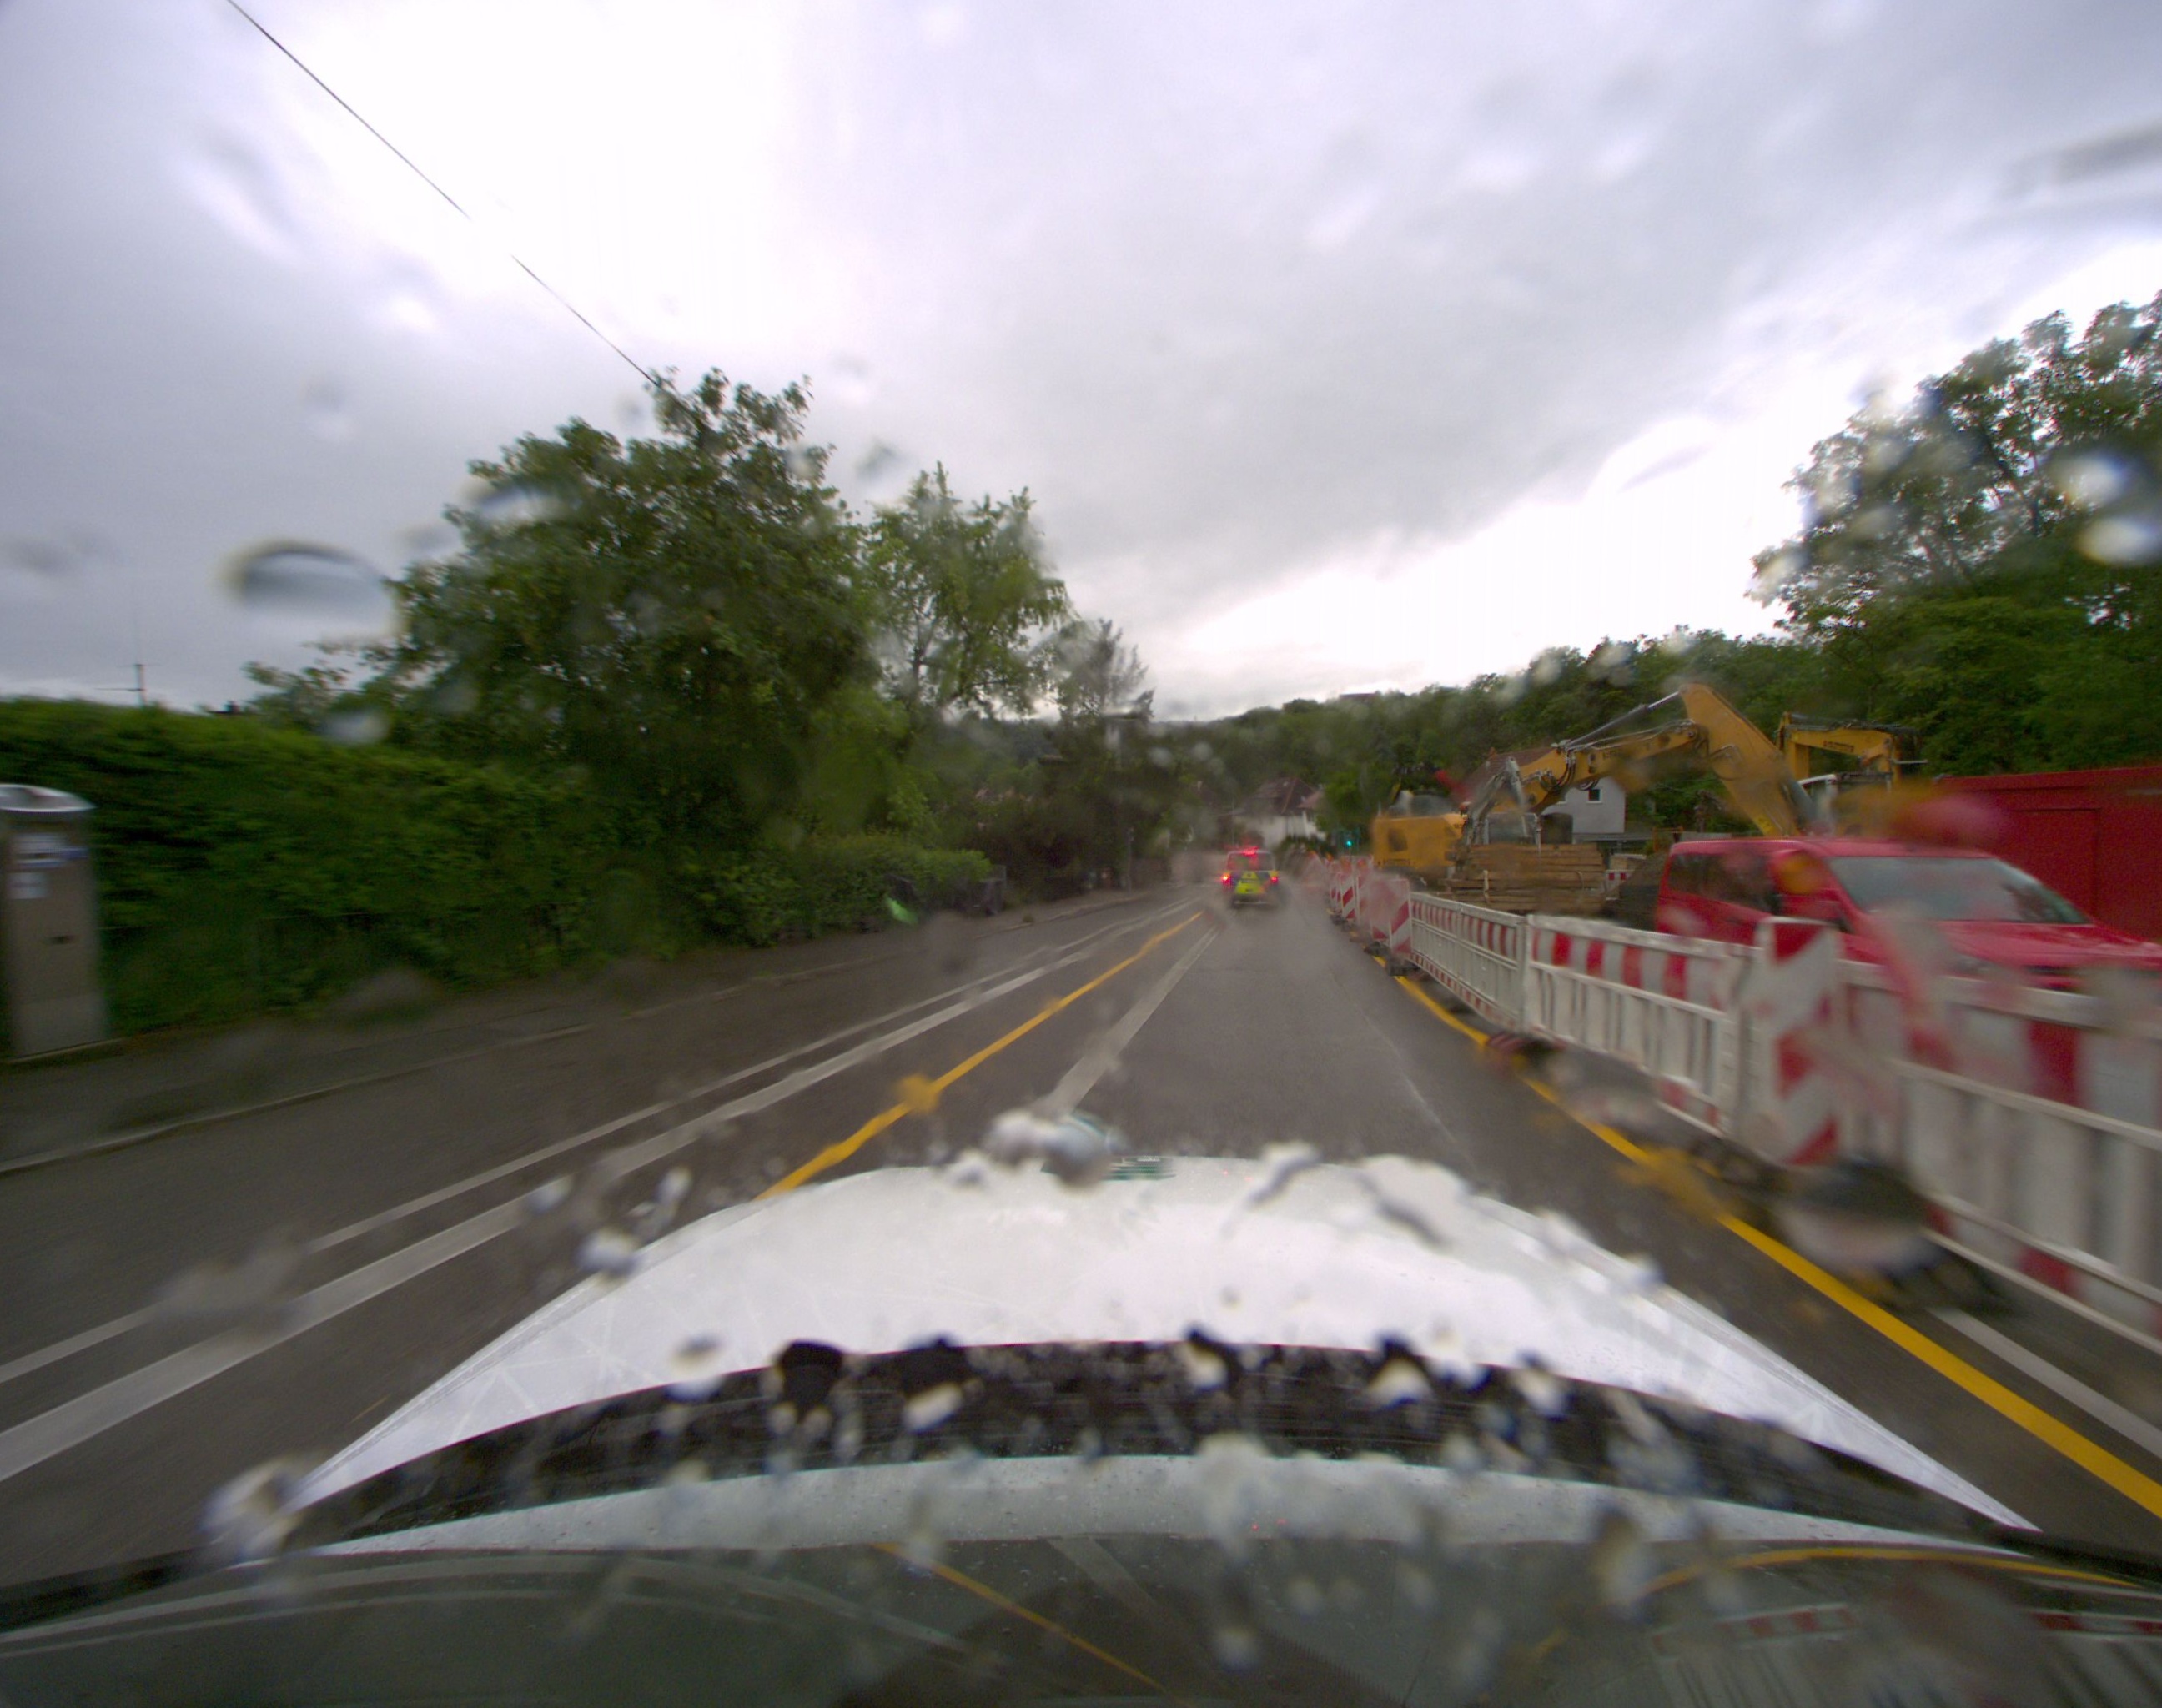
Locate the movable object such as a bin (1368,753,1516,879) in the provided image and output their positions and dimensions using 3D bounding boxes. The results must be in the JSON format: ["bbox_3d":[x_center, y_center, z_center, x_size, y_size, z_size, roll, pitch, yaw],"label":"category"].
[{"bbox_3d":[20.055,-2.020,45.661,6.908,6.689,3.053,-1,-1,9],"label":"movable object such as a bin"}]

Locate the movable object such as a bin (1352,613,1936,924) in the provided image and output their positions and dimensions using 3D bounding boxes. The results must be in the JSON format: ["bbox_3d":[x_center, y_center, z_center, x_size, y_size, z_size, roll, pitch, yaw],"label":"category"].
[{"bbox_3d":[11.077,-1.091,18.334,3.070,4.919,10.735,1,-3,-23],"label":"movable object such as a bin"}]

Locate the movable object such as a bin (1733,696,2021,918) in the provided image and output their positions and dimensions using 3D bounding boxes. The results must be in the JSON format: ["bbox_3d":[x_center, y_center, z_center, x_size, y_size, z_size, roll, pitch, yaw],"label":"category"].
[{"bbox_3d":[15.877,-0.817,16.693,1.981,3.888,4.631,-1,0,11],"label":"movable object such as a bin"}]

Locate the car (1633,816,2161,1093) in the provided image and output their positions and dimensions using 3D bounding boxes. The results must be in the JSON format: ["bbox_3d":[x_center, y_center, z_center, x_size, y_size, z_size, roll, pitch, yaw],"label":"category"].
[{"bbox_3d":[7.421,0.645,7.709,1.979,1.779,5.016,-1,0,13],"label":"car"}]

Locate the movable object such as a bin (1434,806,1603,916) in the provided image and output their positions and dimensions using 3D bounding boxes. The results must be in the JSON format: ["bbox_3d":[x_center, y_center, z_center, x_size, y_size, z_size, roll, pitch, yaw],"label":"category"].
[{"bbox_3d":[13.564,0.142,25.532,3.970,3.202,2.411,0,5,3],"label":"movable object such as a bin"}]

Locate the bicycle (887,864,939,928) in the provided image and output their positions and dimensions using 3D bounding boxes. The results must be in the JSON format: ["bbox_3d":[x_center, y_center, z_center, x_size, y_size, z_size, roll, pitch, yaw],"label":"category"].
[{"bbox_3d":[-3.685,0.899,18.004,0.417,1.349,1.749,-1,-2,13],"label":"bicycle"}]

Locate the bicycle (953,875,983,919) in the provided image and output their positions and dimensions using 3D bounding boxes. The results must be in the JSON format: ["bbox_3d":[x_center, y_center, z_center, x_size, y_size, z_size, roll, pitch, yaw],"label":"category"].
[{"bbox_3d":[-2.940,1.099,21.224,0.335,1.107,1.260,-1,-2,13],"label":"bicycle"}]

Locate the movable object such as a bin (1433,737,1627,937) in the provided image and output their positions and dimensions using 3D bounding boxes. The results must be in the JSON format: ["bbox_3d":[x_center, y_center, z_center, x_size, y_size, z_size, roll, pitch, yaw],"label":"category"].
[{"bbox_3d":[8.286,-0.190,15.501,1.982,3.306,3.844,-1,-3,9],"label":"movable object such as a bin"}]

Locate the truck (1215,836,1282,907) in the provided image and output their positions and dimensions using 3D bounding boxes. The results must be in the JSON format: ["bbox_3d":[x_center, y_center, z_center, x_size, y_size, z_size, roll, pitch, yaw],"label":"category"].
[{"bbox_3d":[5.976,0.519,28.691,1.979,2.013,4.755,-2,4,15],"label":"truck"}]
